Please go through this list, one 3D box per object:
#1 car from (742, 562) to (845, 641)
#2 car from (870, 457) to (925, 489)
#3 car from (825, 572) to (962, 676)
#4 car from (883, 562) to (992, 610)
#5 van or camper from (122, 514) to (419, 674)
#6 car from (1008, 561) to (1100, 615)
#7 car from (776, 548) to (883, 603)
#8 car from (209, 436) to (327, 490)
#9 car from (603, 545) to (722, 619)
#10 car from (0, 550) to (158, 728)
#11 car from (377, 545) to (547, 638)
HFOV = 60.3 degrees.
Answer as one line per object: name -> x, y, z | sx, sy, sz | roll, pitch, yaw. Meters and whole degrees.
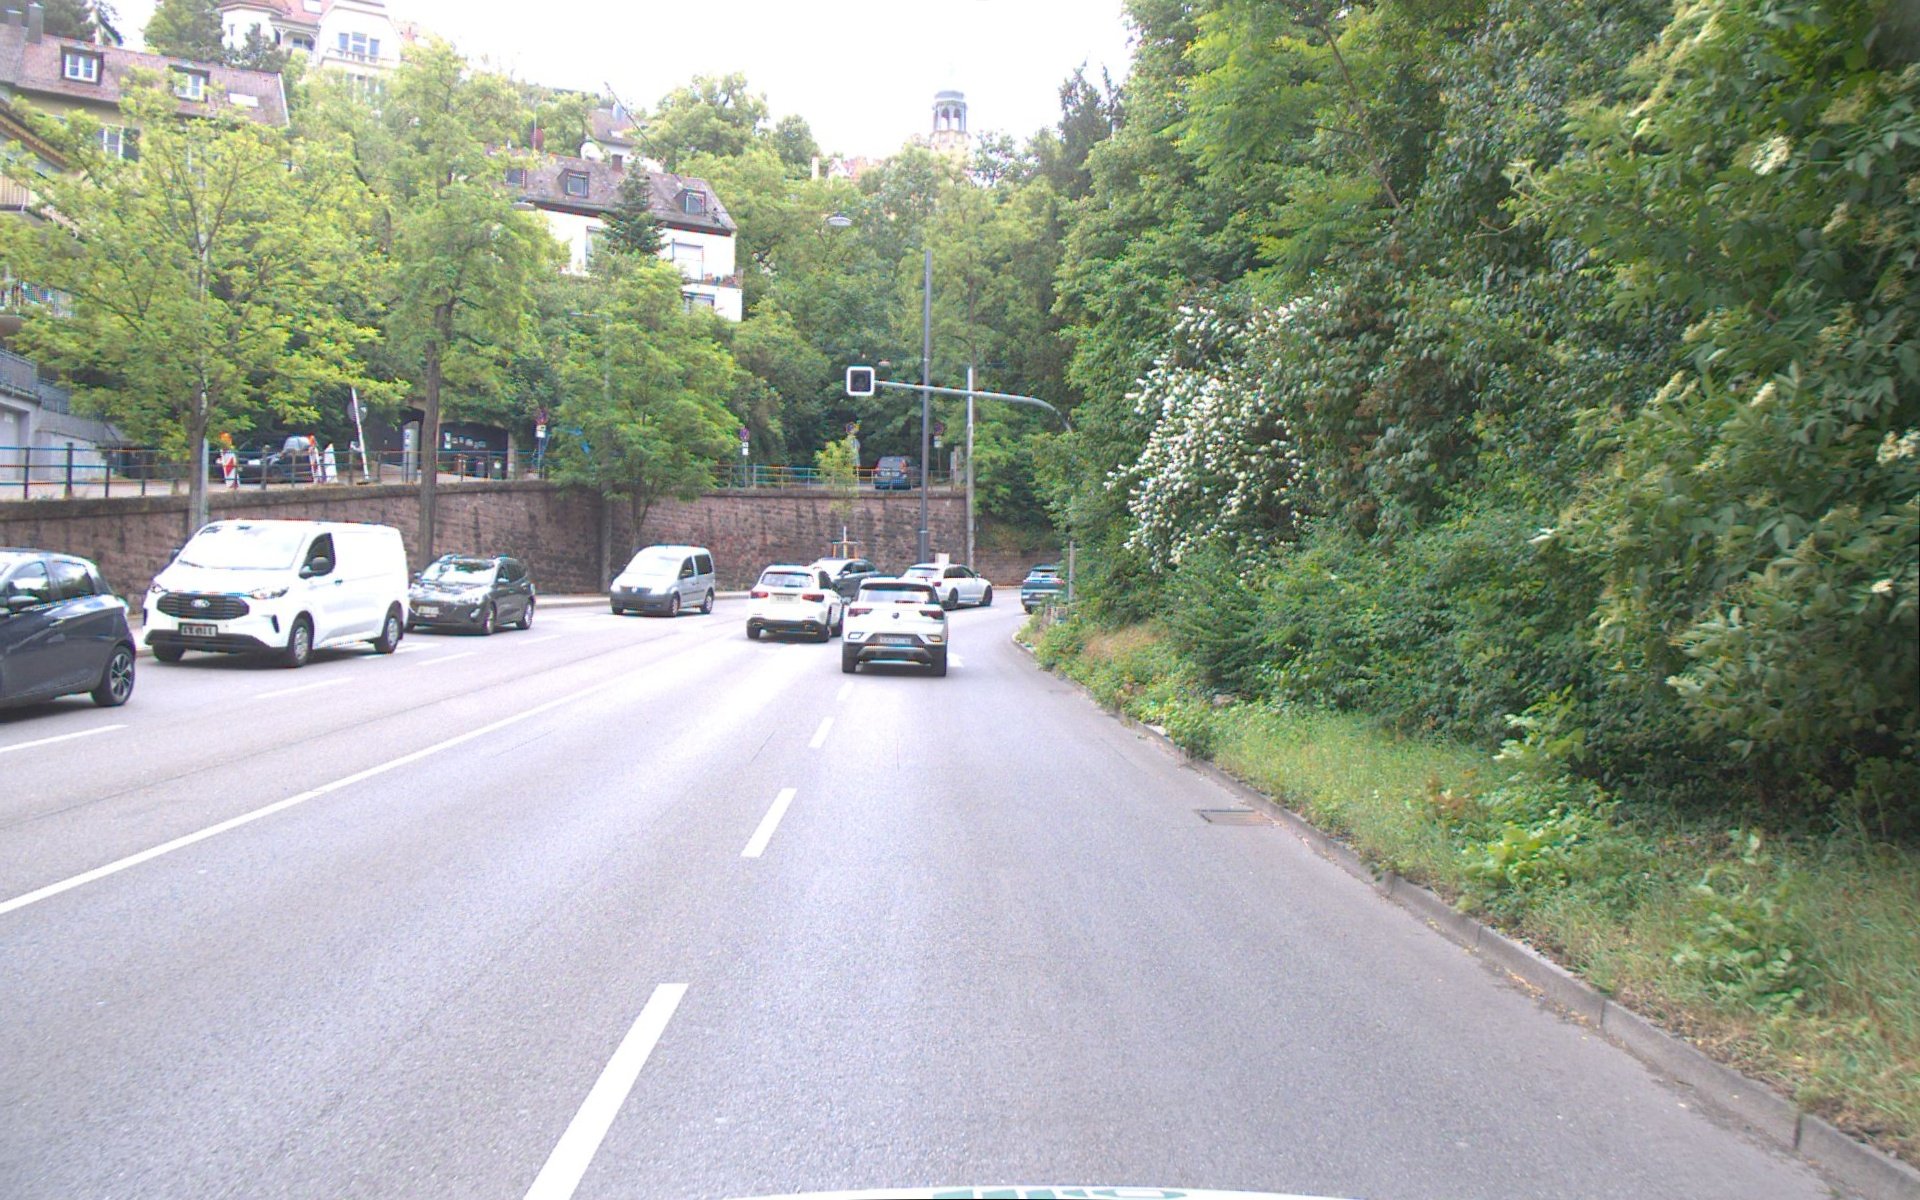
car -> -3.773, 0.021, 38.255 | 1.838, 1.681, 4.342 | 1, 0, 1
car -> -2.983, -6.142, 79.872 | 1.951, 1.511, 4.006 | 0, 4, 8
car -> -1.208, 0.366, 28.231 | 1.830, 1.583, 3.886 | 2, 0, -9
car -> -0.687, -0.476, 55.229 | 2.201, 1.545, 4.308 | 0, 1, 21
van or camper -> -9.838, -0.113, 24.197 | 1.952, 2.049, 5.562 | 1, 1, 0
car -> 3.154, -0.415, 54.656 | 1.823, 1.660, 3.959 | -2, 0, 22
car -> -4.413, -0.838, 56.604 | 1.906, 1.723, 4.285 | 3, 2, 22
car -> -20.519, -4.046, 49.196 | 1.518, 1.302, 3.602 | -1, 1, 9
car -> -8.060, -0.547, 45.206 | 1.904, 1.829, 4.290 | 3, 2, 8
car -> -9.330, 0.297, 15.271 | 1.953, 1.547, 3.990 | 2, 1, -2
car -> -9.951, -0.233, 33.415 | 1.952, 1.645, 4.331 | 3, 2, 1
